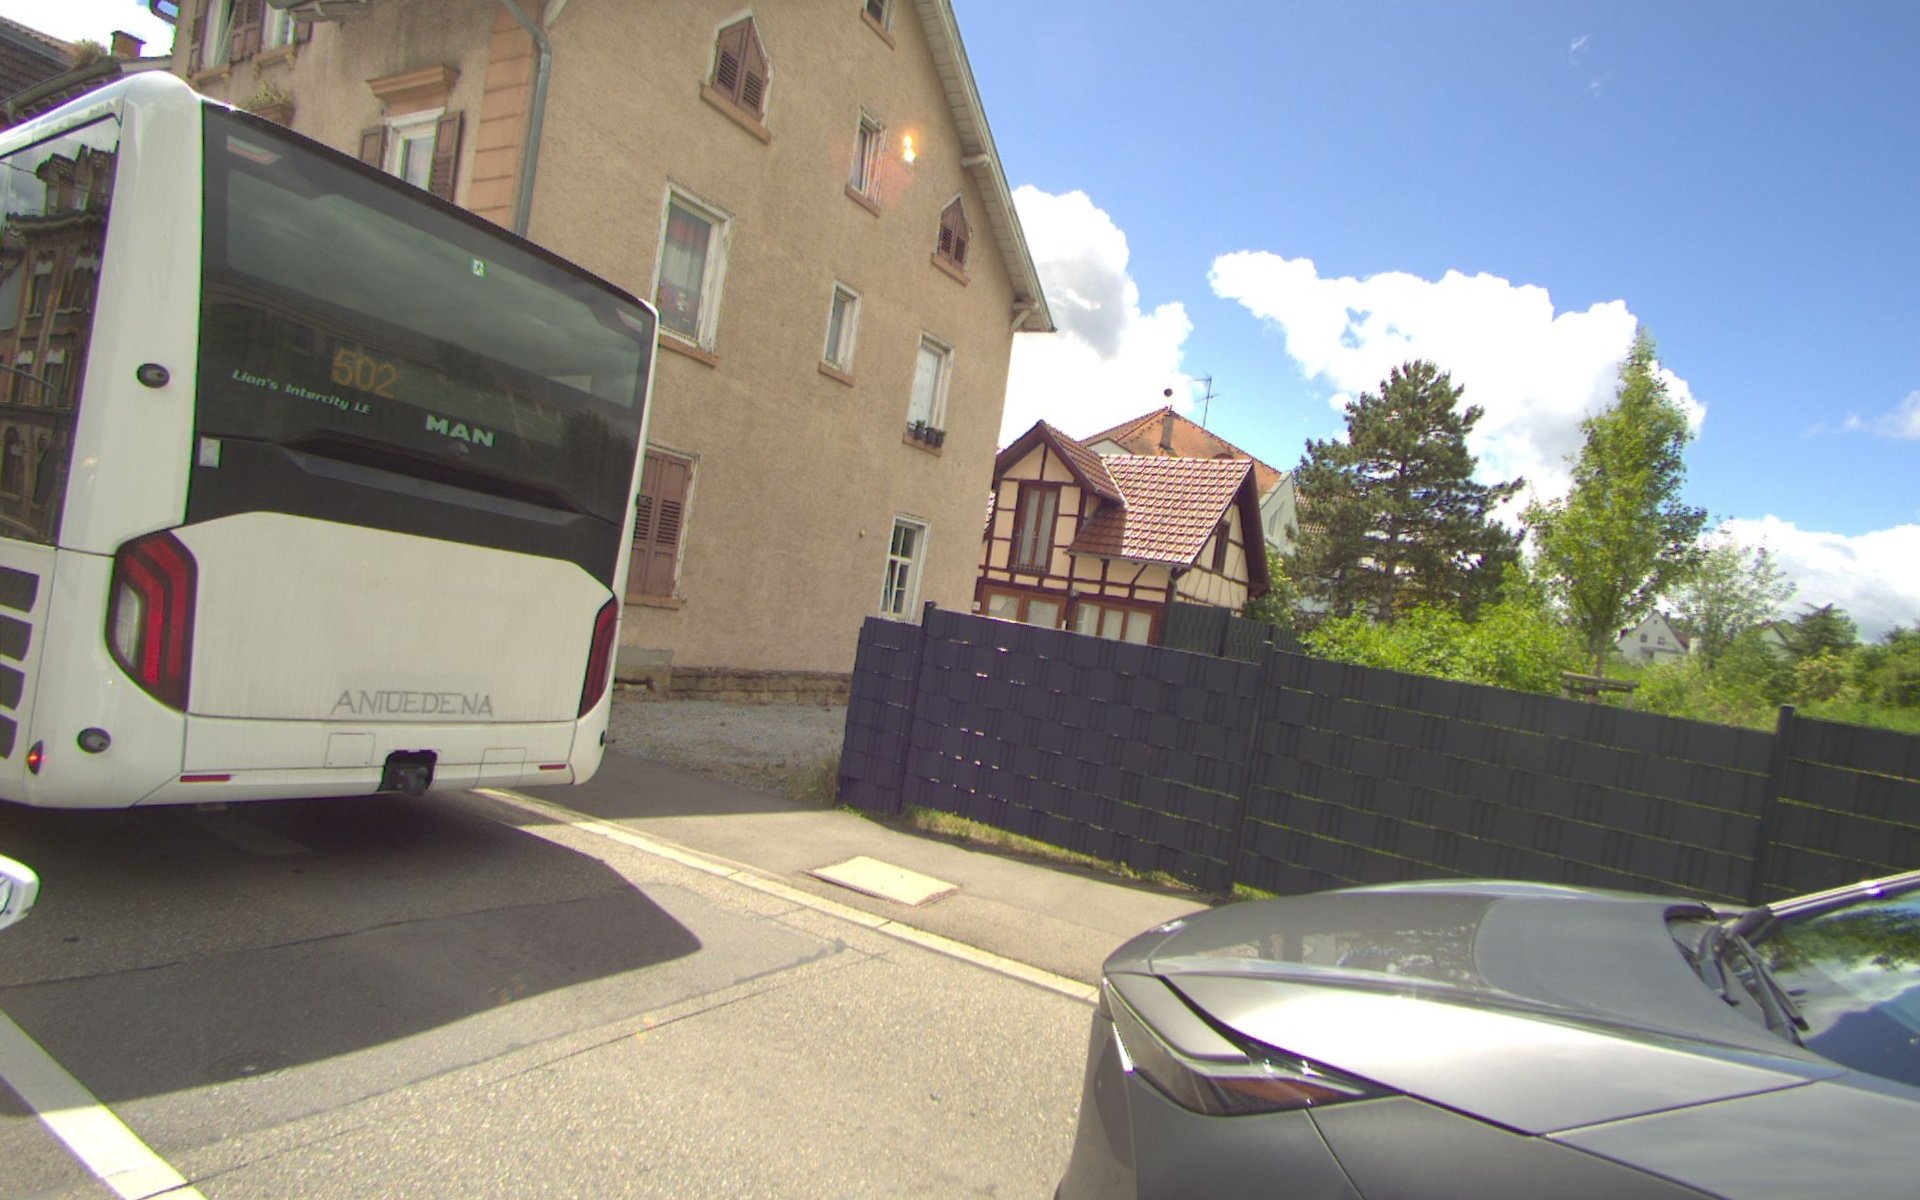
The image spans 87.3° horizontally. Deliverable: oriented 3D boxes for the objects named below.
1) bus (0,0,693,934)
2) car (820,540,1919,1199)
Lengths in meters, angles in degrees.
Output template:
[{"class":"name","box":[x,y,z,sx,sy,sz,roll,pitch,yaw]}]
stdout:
[{"class":"bus","box":[-7.517,-0.956,7.730,12.256,3.194,2.676,7,0,32]},{"class":"car","box":[2.232,1.054,1.387,4.605,1.631,1.924,7,-2,32]}]
